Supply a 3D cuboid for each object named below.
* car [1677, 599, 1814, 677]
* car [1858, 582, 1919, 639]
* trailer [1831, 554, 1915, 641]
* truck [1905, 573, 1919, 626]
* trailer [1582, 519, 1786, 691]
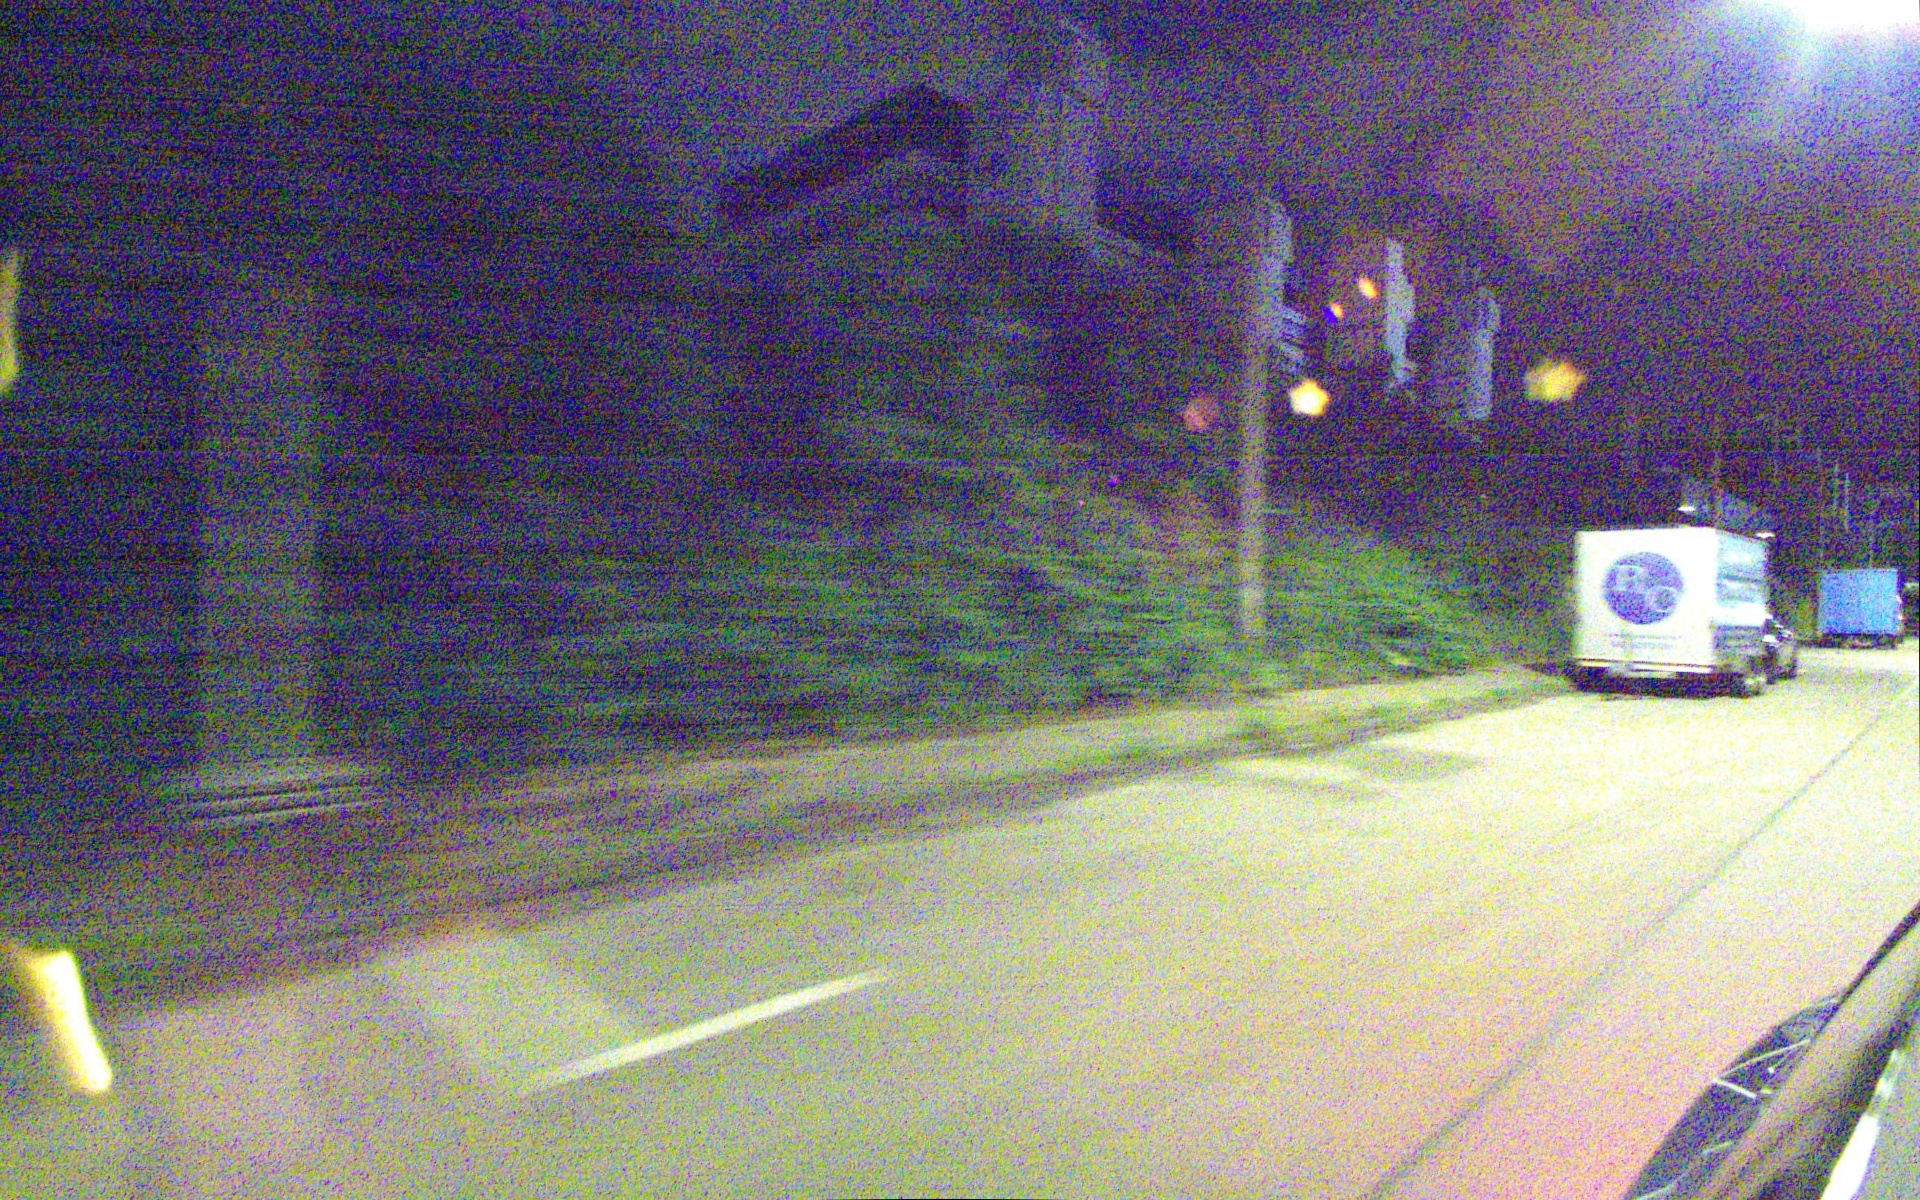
[{"bbox_3d":[16.585,0.735,21.279,1.727,1.404,4.600,2,1,45],"label":"car"},{"bbox_3d":[45.397,0.499,49.277,6.534,2.580,1.943,1,1,-44],"label":"car"},{"bbox_3d":[37.615,-0.108,41.672,2.398,3.367,4.293,2,1,44],"label":"trailer"},{"bbox_3d":[74.817,0.061,77.025,12.429,3.885,2.515,1,1,-39],"label":"truck"},{"bbox_3d":[12.759,0.074,17.764,3.929,2.684,1.997,1,1,-41],"label":"trailer"}]
